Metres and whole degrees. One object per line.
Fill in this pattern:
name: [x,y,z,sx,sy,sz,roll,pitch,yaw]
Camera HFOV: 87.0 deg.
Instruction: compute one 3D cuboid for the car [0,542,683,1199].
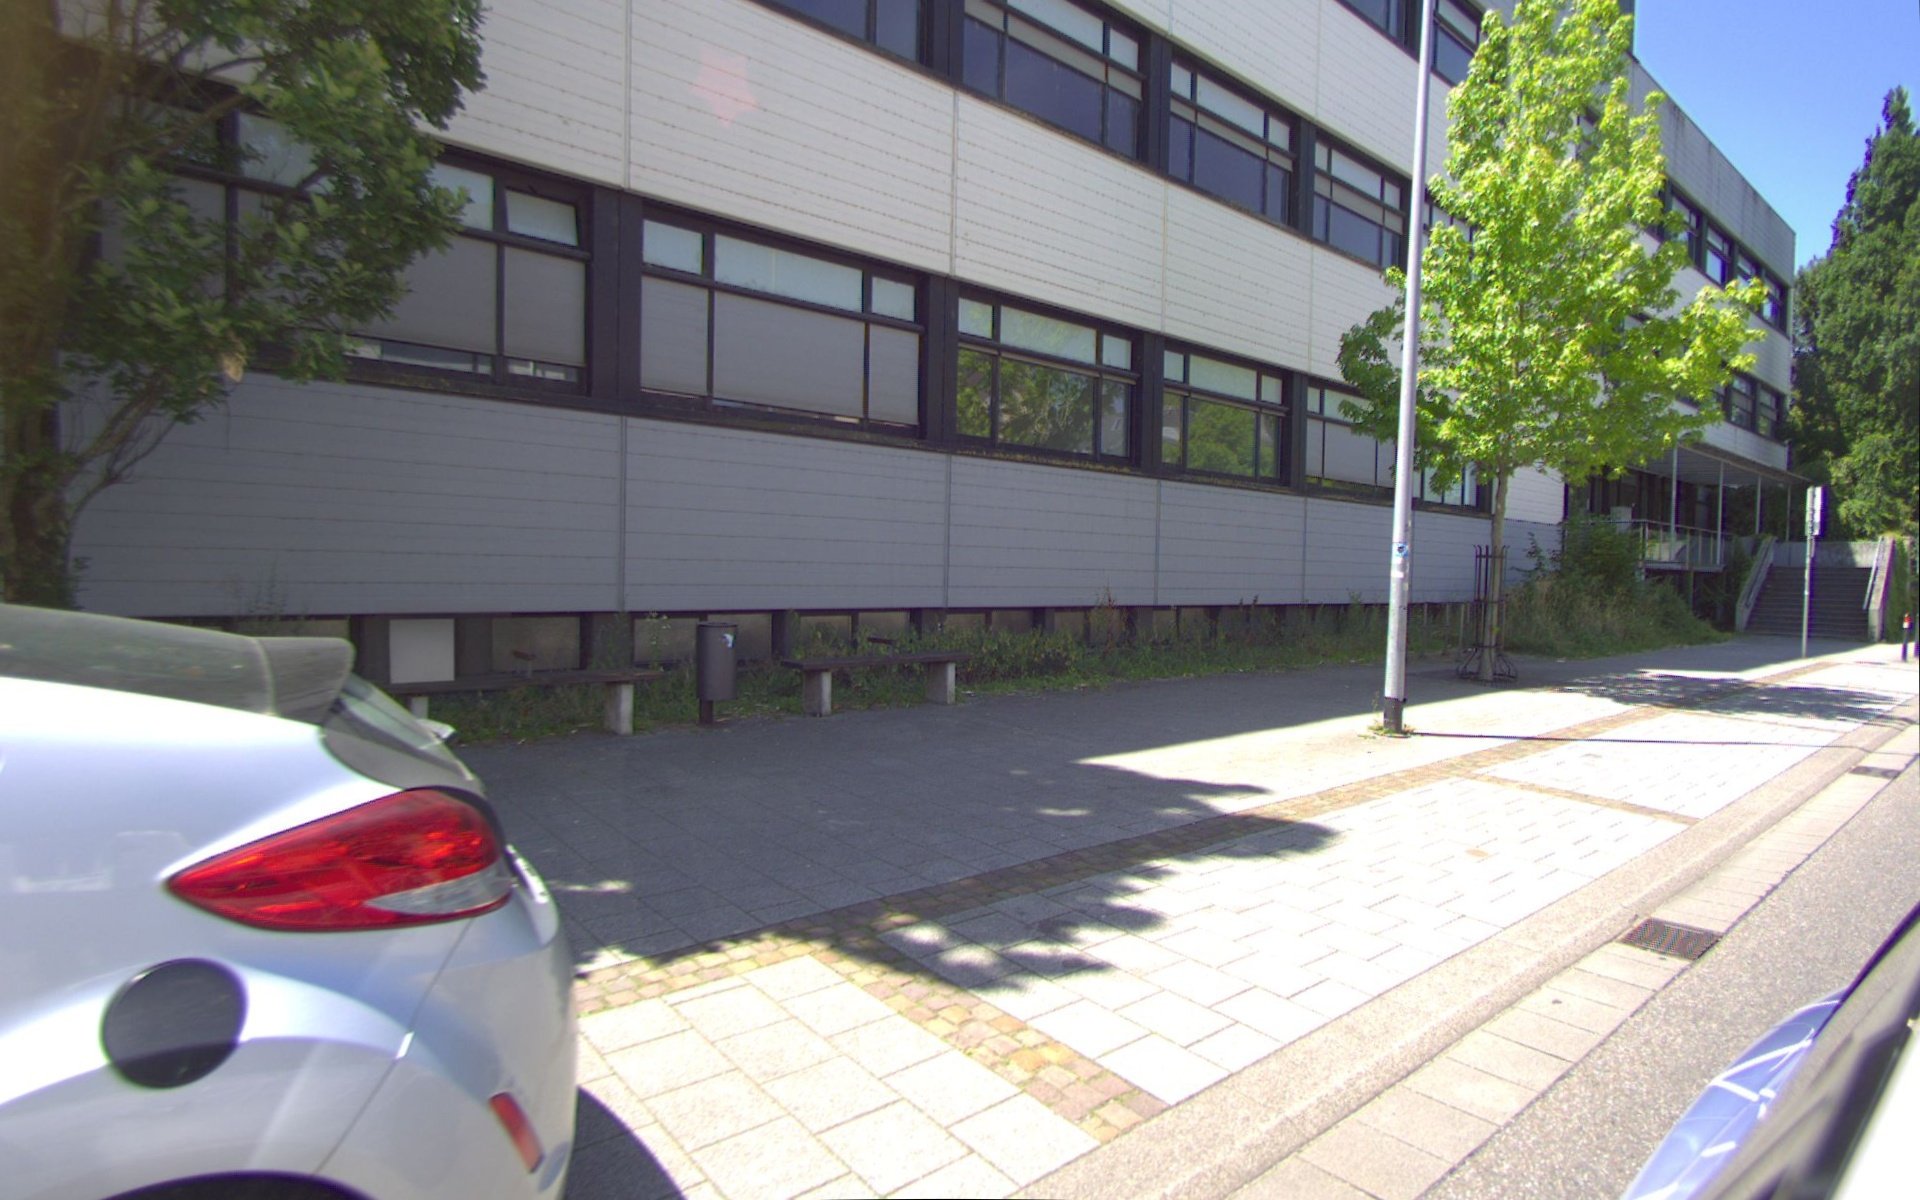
car: [-2.566,0.605,1.167,3.929,1.390,1.867,-1,3,-40]
